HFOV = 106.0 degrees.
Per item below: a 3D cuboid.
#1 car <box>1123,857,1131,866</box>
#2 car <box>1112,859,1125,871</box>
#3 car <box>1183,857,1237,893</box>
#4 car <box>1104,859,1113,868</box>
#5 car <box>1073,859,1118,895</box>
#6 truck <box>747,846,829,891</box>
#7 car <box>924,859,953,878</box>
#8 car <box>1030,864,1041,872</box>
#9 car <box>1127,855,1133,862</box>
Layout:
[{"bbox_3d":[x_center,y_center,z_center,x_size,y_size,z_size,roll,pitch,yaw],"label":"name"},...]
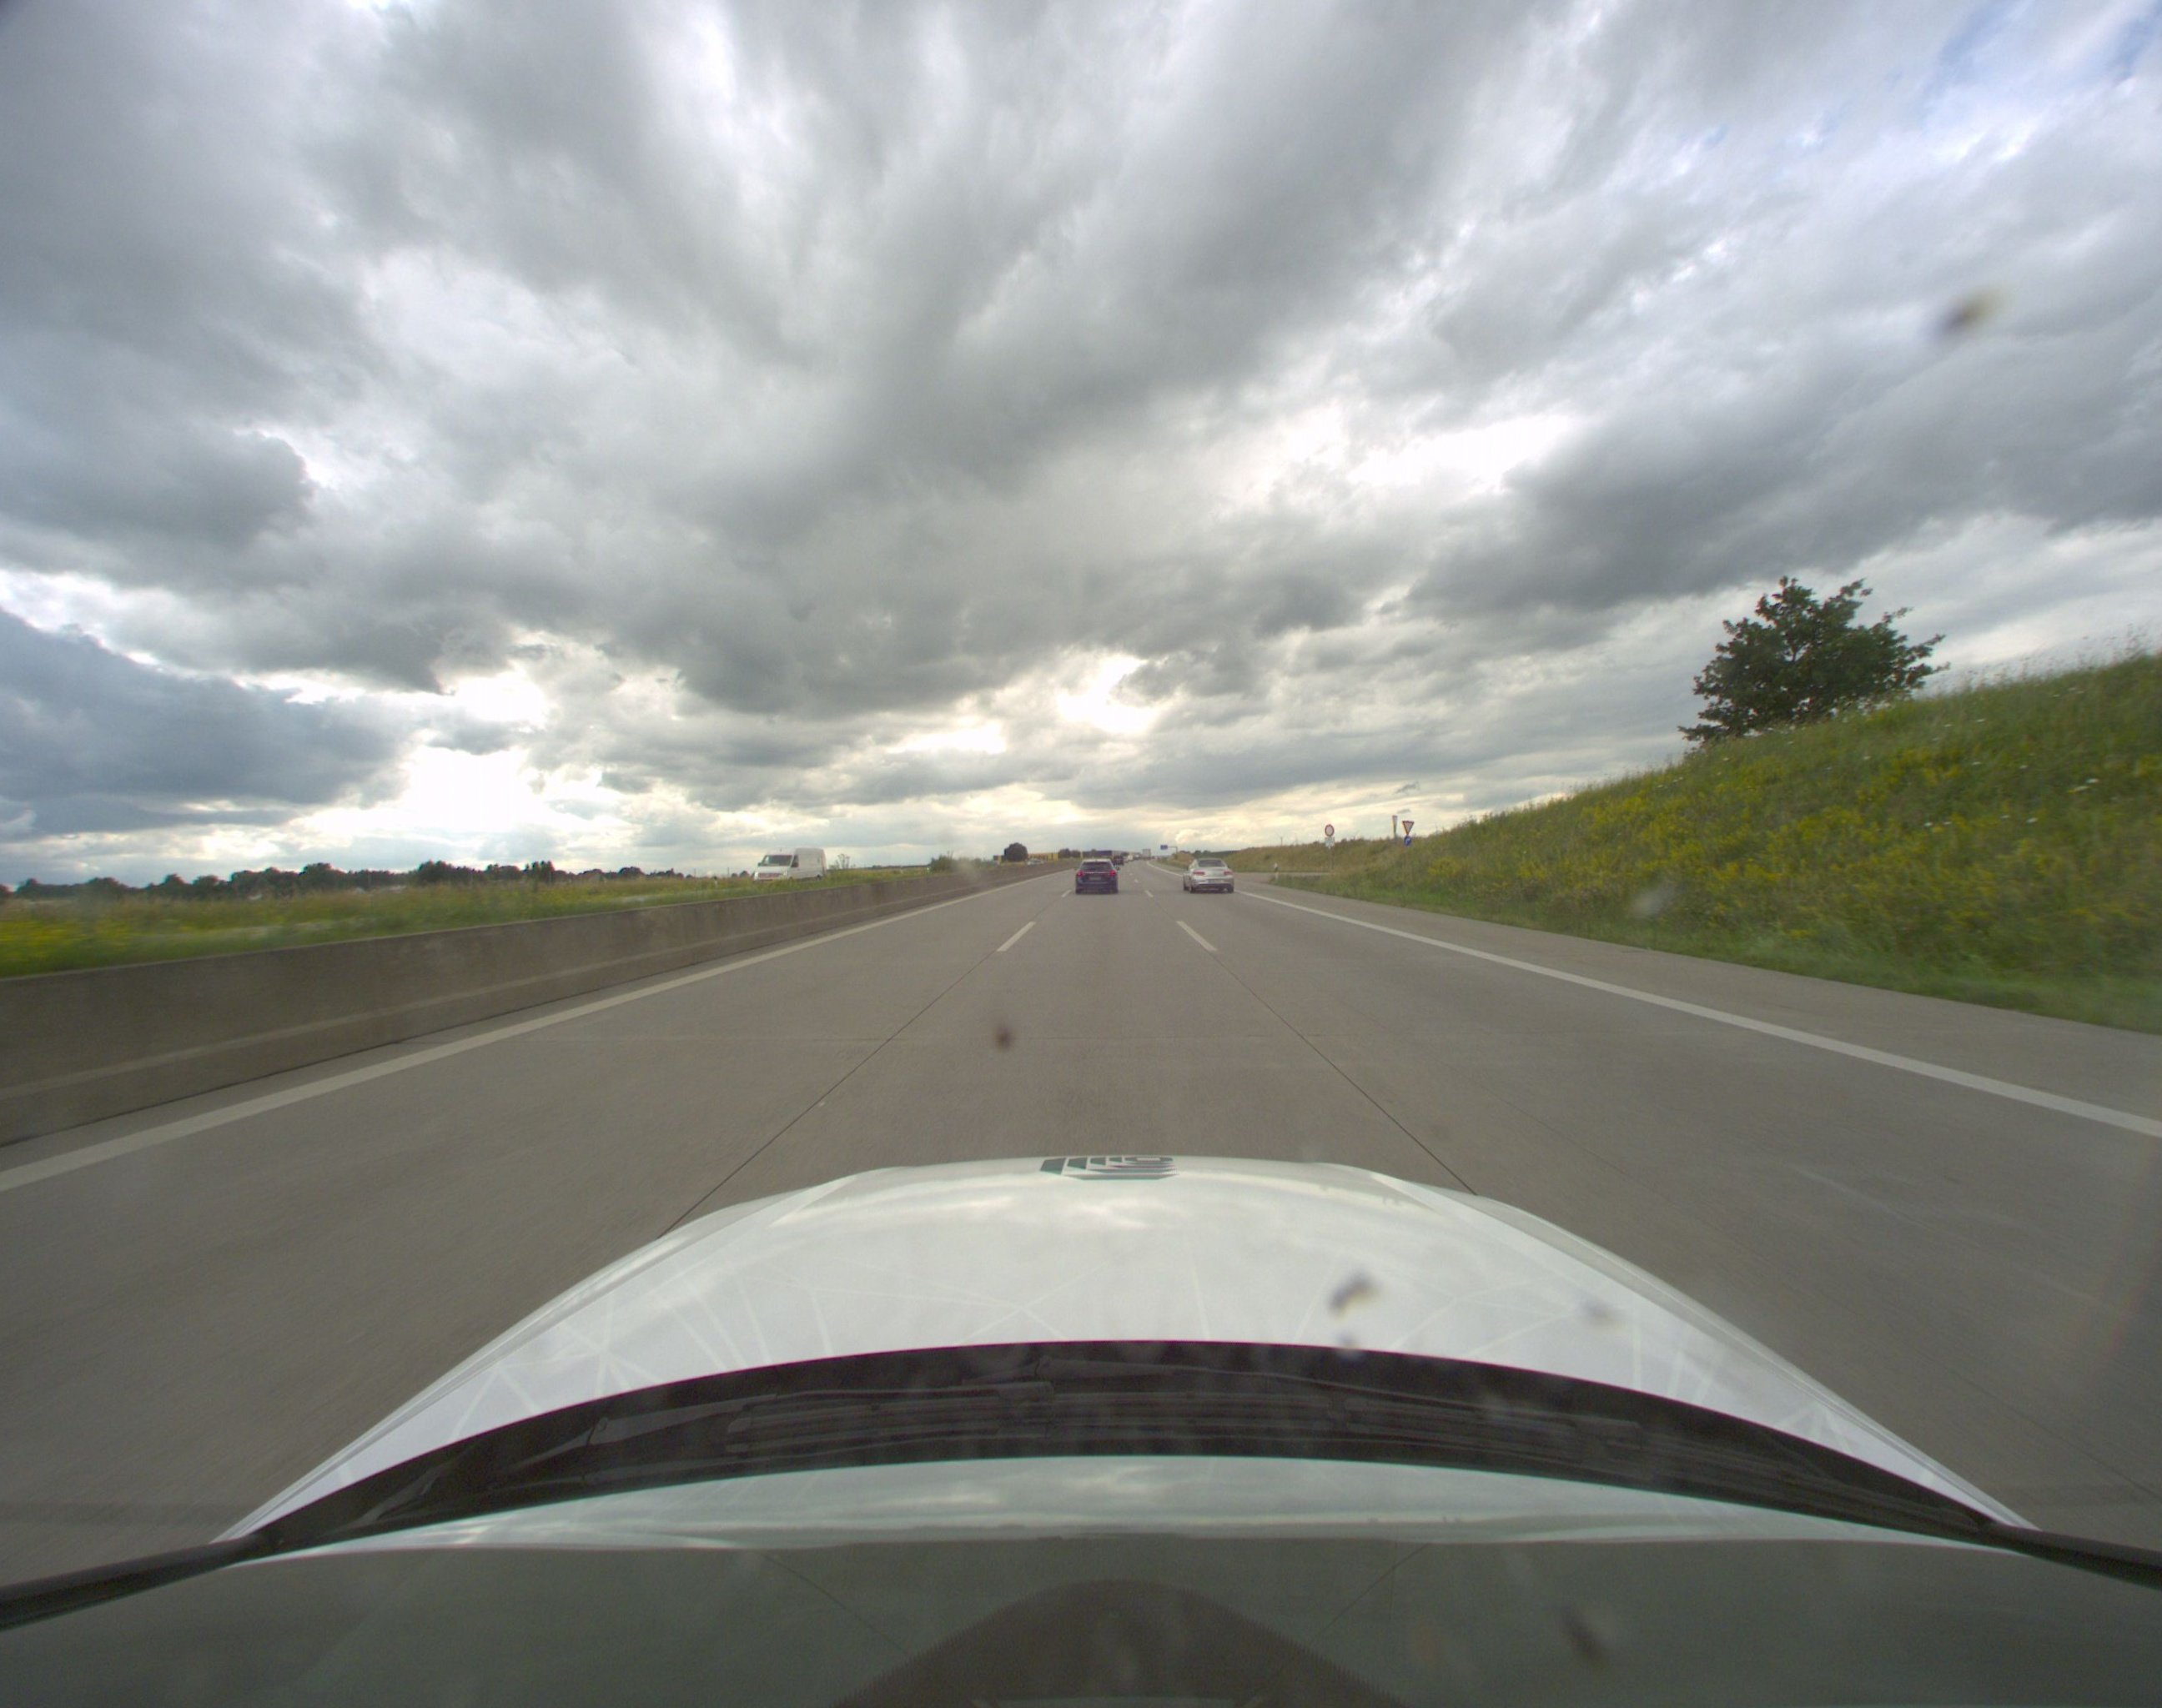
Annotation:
[{"bbox_3d":[10.989,1.798,194.740,1.984,2.014,4.005,0,0,4],"label":"car"},{"bbox_3d":[6.387,1.977,139.947,1.988,2.014,3.997,0,-1,-2],"label":"car"},{"bbox_3d":[5.406,0.868,34.599,1.781,1.403,4.224,-1,-1,3],"label":"car"},{"bbox_3d":[6.595,2.317,195.509,2.038,2.014,4.001,0,-1,2],"label":"car"},{"bbox_3d":[0.631,0.965,34.952,1.768,1.413,4.000,-1,-1,1],"label":"car"},{"bbox_3d":[-17.897,0.911,50.314,2.136,2.567,7.450,0,-1,2],"label":"truck"},{"bbox_3d":[-12.884,1.297,73.694,1.649,1.567,4.225,-1,0,2],"label":"car"},{"bbox_3d":[-8.701,2.729,155.743,1.771,1.507,4.520,-1,-1,3],"label":"car"},{"bbox_3d":[14.623,1.422,243.322,1.985,2.014,4.003,-1,-1,3],"label":"car"}]
